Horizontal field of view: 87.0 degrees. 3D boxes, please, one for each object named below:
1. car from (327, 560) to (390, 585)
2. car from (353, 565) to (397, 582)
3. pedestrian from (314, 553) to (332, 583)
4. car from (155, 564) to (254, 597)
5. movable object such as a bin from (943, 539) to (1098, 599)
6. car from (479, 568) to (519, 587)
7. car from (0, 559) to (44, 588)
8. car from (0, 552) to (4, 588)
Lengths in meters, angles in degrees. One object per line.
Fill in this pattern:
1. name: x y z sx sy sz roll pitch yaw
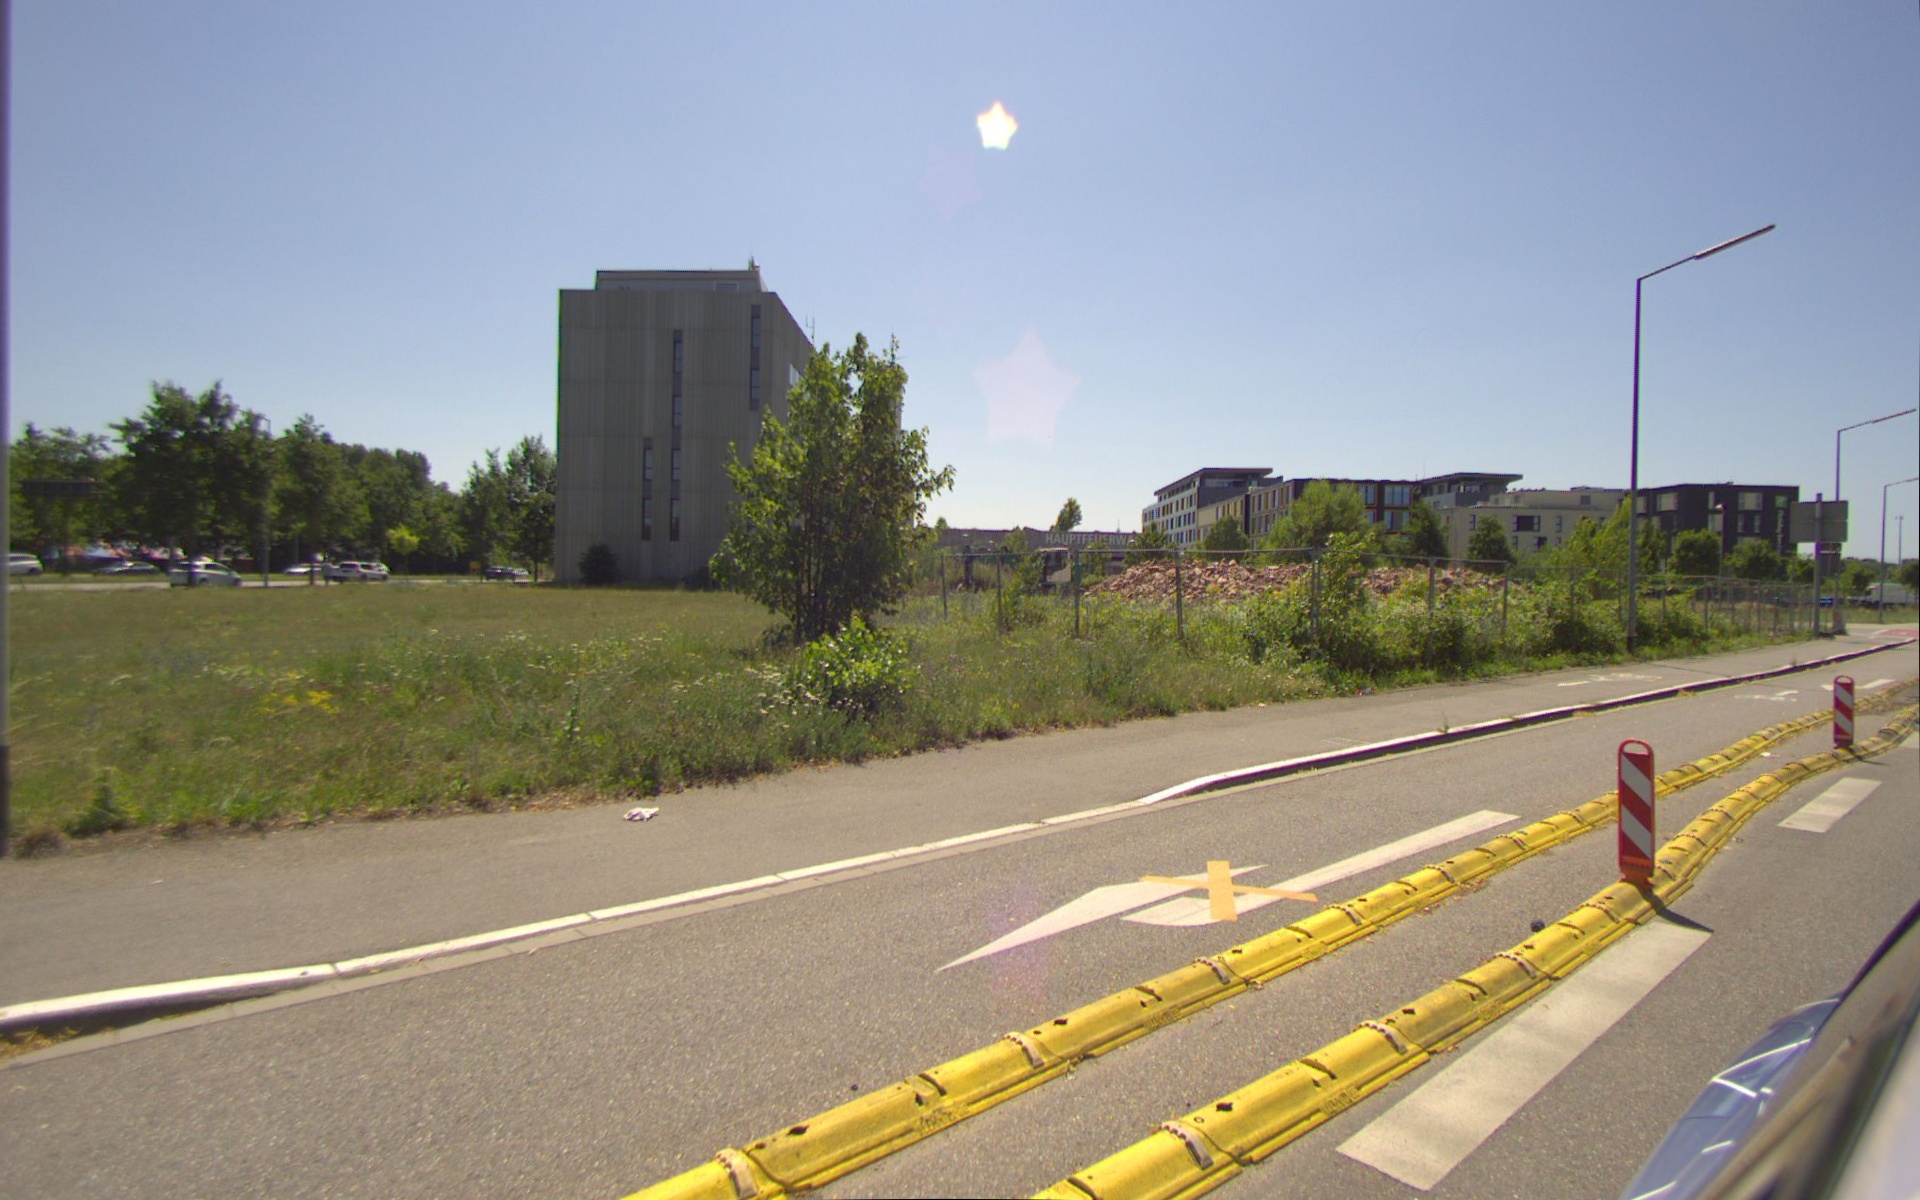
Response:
1. car: -44.498 -2.003 74.944 1.962 1.757 4.645 0 0 -1
2. car: -58.578 -2.625 101.434 1.814 1.612 4.443 0 0 1
3. pedestrian: -33.961 -1.704 53.954 0.652 1.611 0.557 0 0 -15
4. car: -42.671 -1.070 57.281 1.964 1.757 4.639 0 0 4
5. movable object such as a bin: 3.197 -1.595 53.340 7.537 2.952 3.242 -1 0 -26
6. car: -46.570 -2.253 102.332 1.962 1.757 4.645 0 0 -1
7. car: -58.787 -1.621 61.733 1.814 1.757 4.443 0 0 1
8. car: -47.388 -1.424 46.824 1.962 1.757 4.645 0 0 -1
